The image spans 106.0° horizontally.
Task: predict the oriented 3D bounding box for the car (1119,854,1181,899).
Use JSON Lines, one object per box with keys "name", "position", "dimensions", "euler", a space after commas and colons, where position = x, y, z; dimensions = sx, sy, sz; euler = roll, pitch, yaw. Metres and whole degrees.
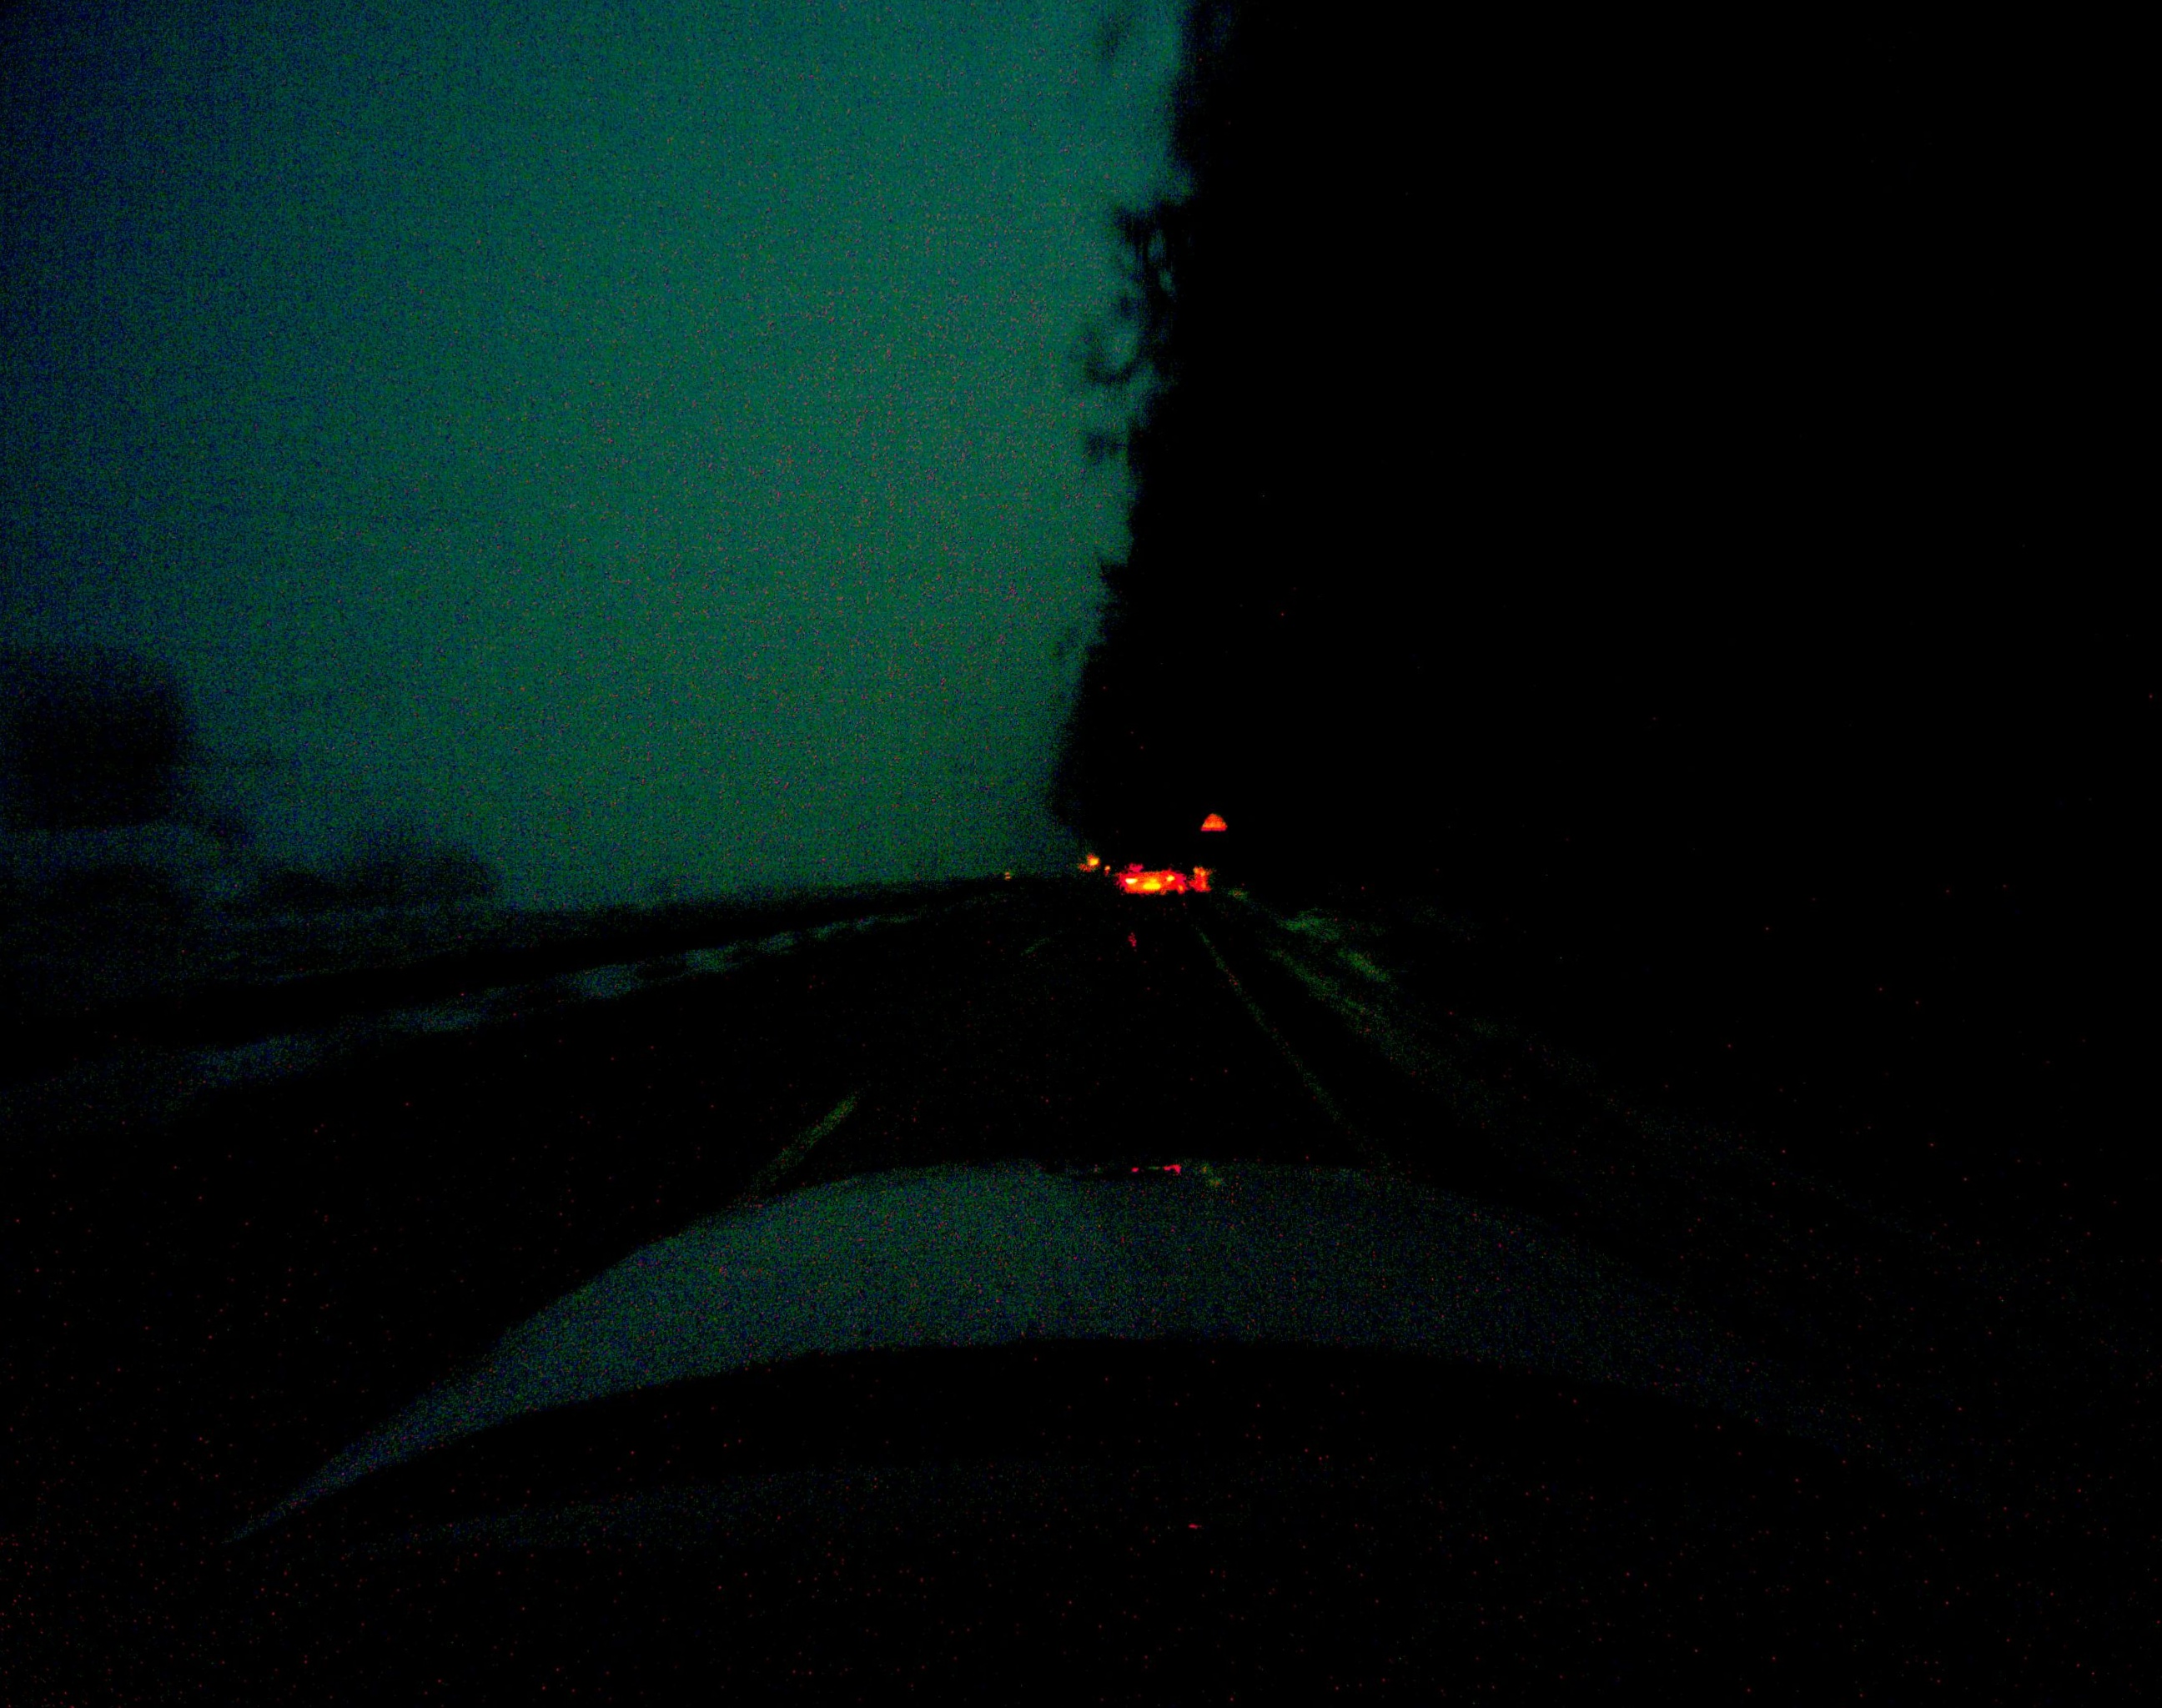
{"name": "car", "position": [2.298, 0.732, 27.472], "dimensions": [1.937, 1.381, 4.004], "euler": [0, -1, 4]}
